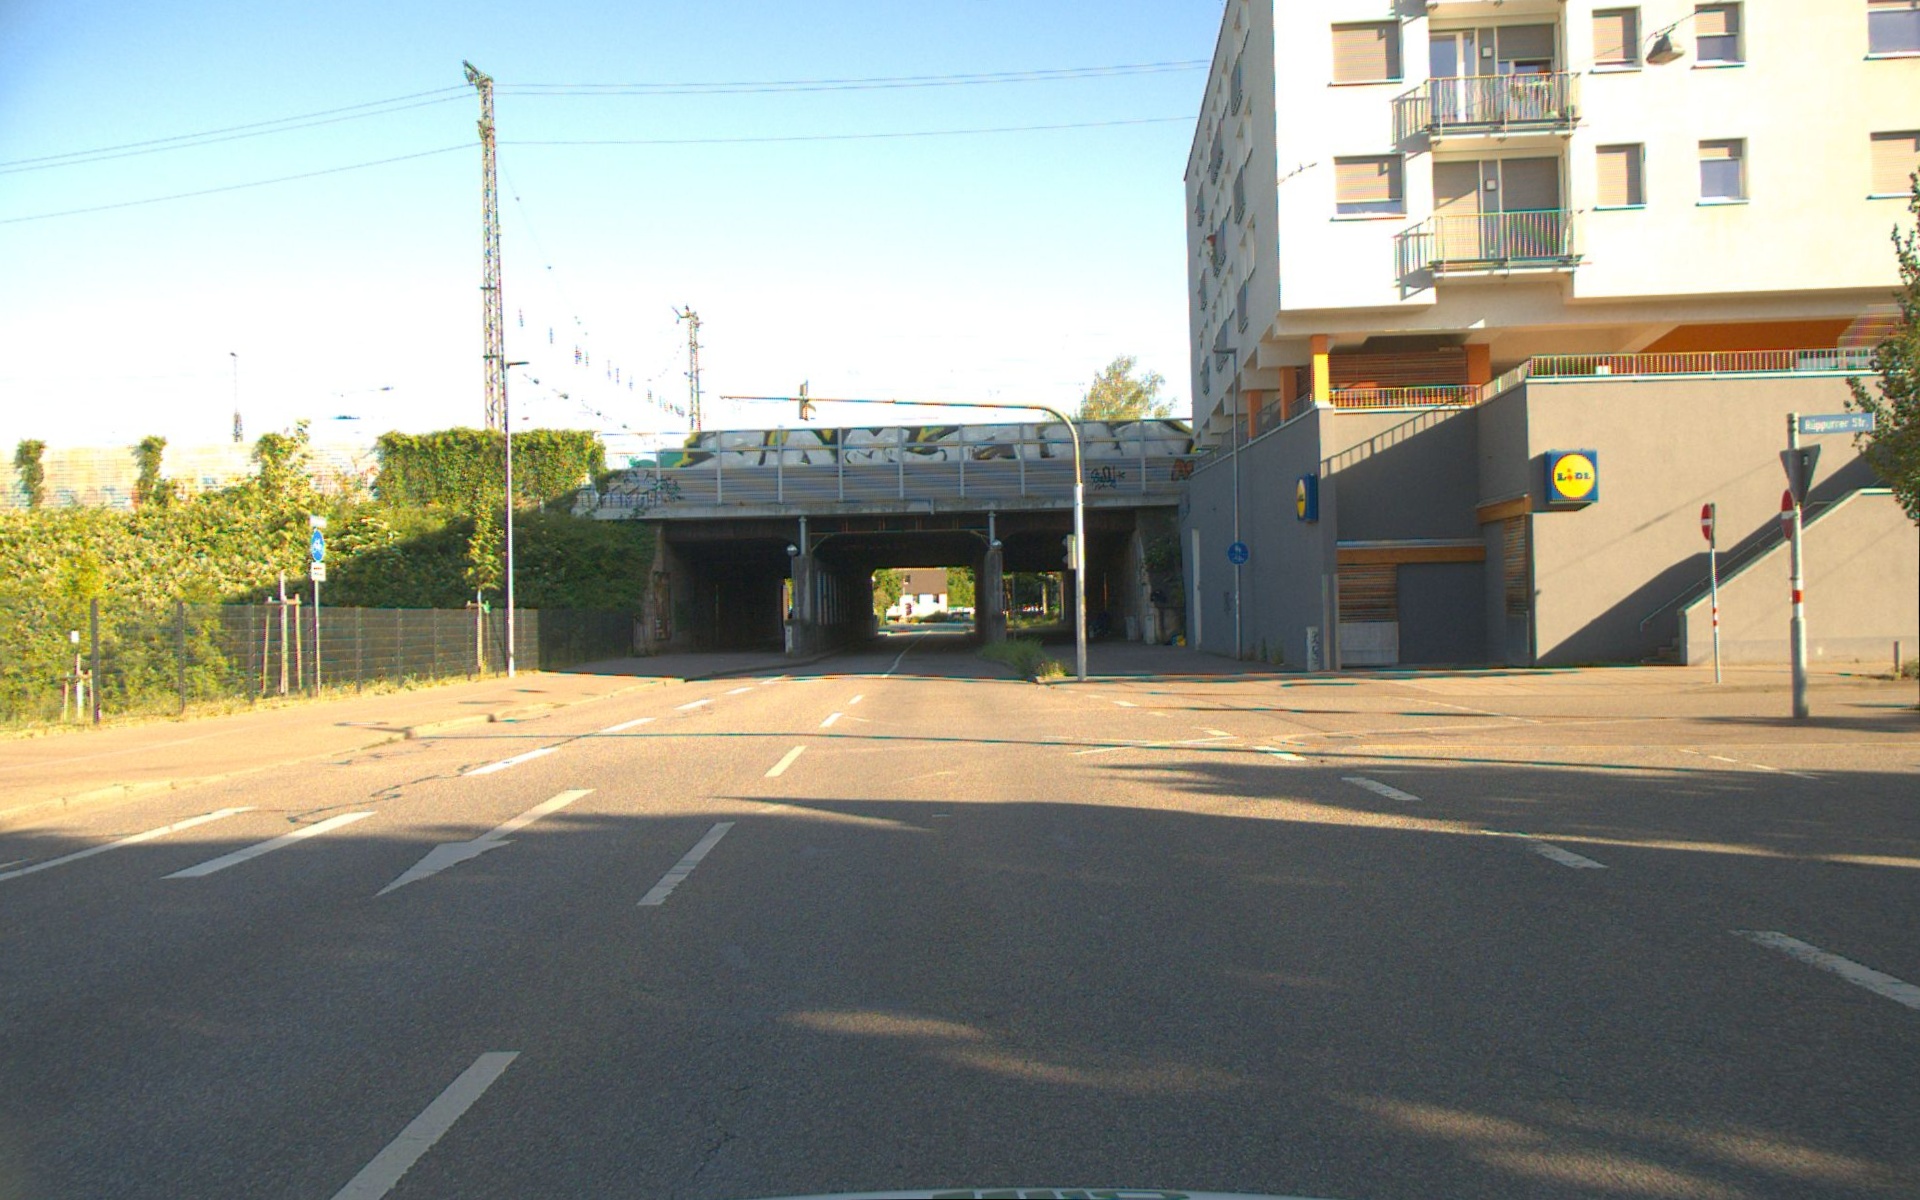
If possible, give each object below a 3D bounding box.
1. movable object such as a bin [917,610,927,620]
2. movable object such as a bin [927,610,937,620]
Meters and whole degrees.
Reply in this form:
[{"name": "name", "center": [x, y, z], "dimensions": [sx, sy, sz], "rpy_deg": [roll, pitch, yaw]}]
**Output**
[{"name": "movable object such as a bin", "center": [-5.434, 2.144, 238.796], "dimensions": [1.339, 1.443, 1.064], "rpy_deg": [1, -2, -7]}, {"name": "movable object such as a bin", "center": [-4.077, 2.160, 238.991], "dimensions": [1.339, 1.443, 1.064], "rpy_deg": [1, -2, -7]}]
